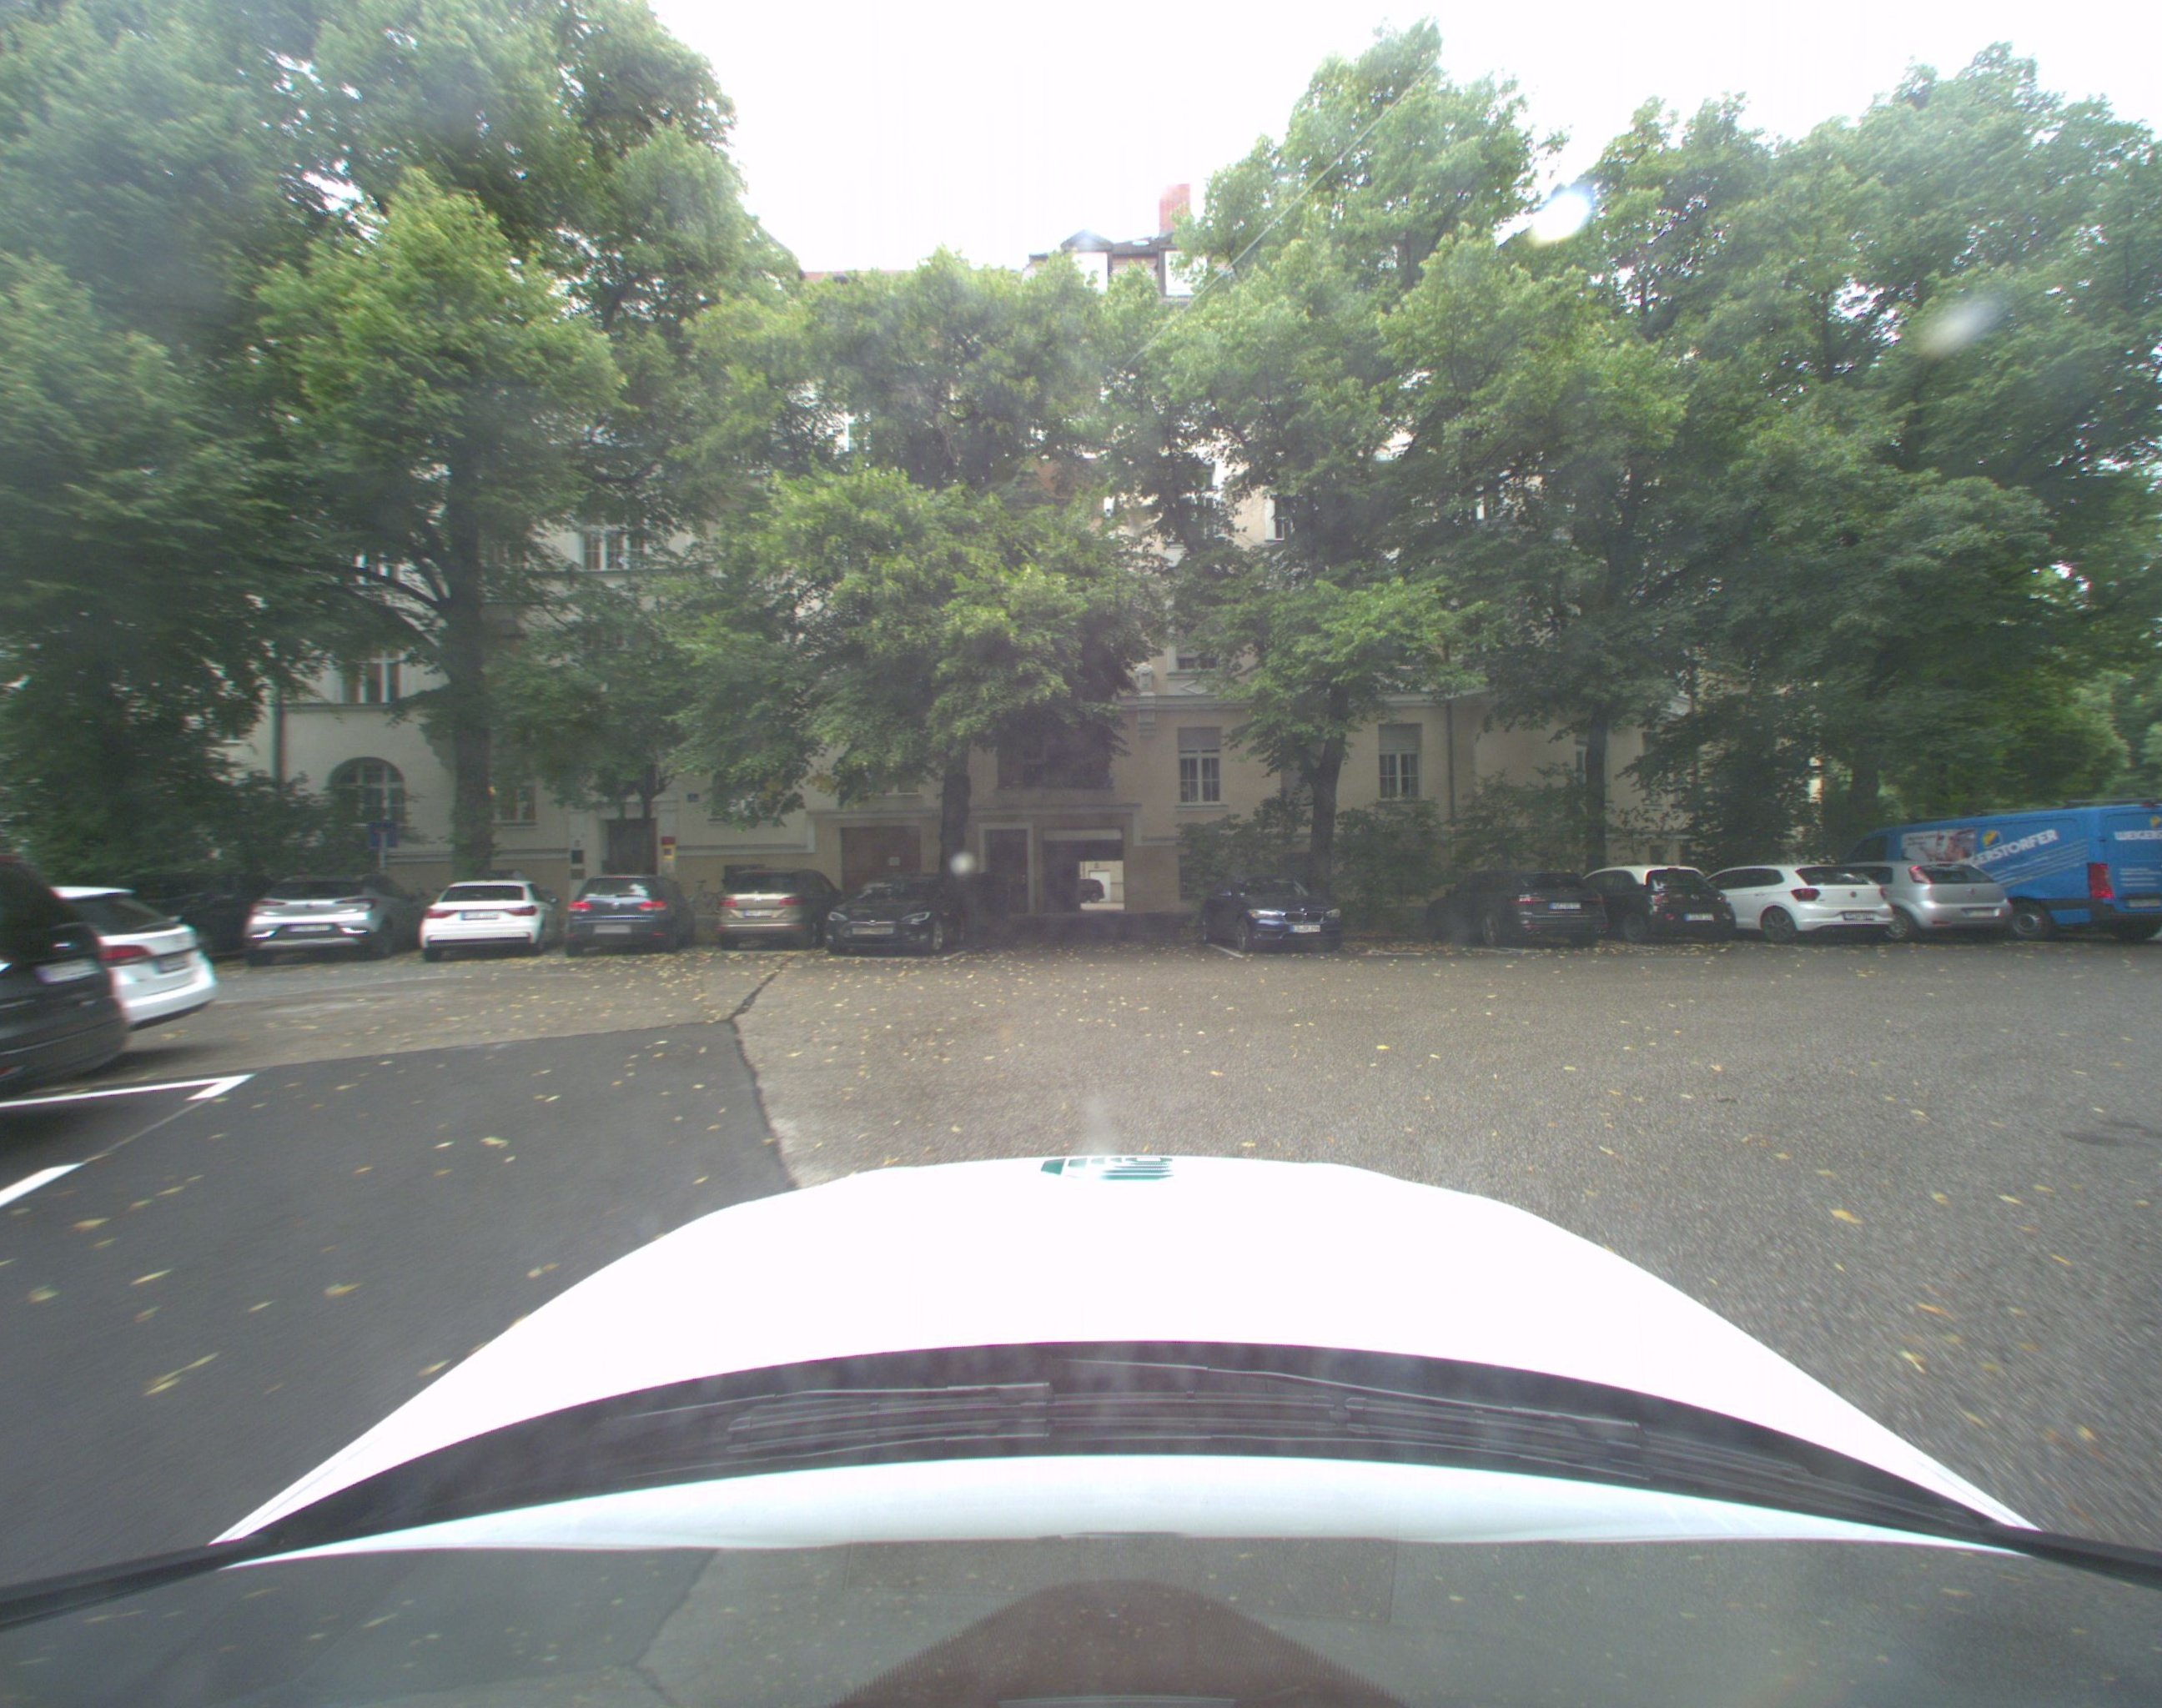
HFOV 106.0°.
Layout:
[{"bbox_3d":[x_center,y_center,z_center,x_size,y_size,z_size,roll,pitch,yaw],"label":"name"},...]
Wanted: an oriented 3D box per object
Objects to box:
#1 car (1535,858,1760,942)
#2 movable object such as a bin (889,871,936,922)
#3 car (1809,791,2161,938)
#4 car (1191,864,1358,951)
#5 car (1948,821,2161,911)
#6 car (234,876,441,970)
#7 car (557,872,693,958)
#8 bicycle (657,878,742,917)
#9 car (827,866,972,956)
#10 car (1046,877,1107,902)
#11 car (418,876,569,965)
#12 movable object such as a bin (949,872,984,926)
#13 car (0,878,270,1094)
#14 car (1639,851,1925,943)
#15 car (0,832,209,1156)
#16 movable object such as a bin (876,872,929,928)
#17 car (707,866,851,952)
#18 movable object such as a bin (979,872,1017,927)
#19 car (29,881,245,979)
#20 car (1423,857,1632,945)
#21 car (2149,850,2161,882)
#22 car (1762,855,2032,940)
[{"bbox_3d":[10.939,0.951,16.109,1.821,1.426,3.749,-1,-5,1],"label":"car"},{"bbox_3d":[-4.570,1.138,22.124,1.115,1.348,0.863,0,0,-3],"label":"movable object such as a bin"},{"bbox_3d":[17.648,0.307,15.829,2.051,2.355,5.495,-1,-3,1],"label":"car"},{"bbox_3d":[3.502,0.958,15.633,1.836,1.383,4.334,-1,-2,-5],"label":"car"},{"bbox_3d":[27.188,0.311,22.390,1.927,2.236,4.216,-1,-1,-10],"label":"car"},{"bbox_3d":[-13.997,1.195,15.639,1.879,1.510,3.965,0,-1,-26],"label":"car"},{"bbox_3d":[-8.771,1.079,15.988,1.798,1.431,3.970,0,-1,-22],"label":"car"},{"bbox_3d":[-11.364,1.281,24.295,2.222,1.115,0.576,0,-1,-1],"label":"bicycle"},{"bbox_3d":[-3.296,1.050,15.649,1.698,1.467,4.289,0,-3,1],"label":"car"},{"bbox_3d":[-0.291,2.314,53.089,3.840,1.518,1.653,0,-1,-6],"label":"car"},{"bbox_3d":[-11.180,1.174,15.780,1.727,1.431,3.965,0,-1,-26],"label":"car"},{"bbox_3d":[-2.969,1.144,21.179,0.711,1.348,1.372,-1,-1,-1],"label":"movable object such as a bin"},{"bbox_3d":[-9.133,1.057,6.043,4.013,1.479,1.817,-4,0,-31],"label":"car"},{"bbox_3d":[13.271,0.899,15.854,1.792,1.514,4.283,-1,-5,0],"label":"car"},{"bbox_3d":[-7.797,0.842,4.074,4.248,1.684,1.884,-3,1,-31],"label":"car"},{"bbox_3d":[-4.555,1.160,20.853,1.147,1.348,1.155,0,0,-3],"label":"movable object such as a bin"},{"bbox_3d":[-6.035,1.029,16.775,1.836,1.530,4.016,-1,-1,-6],"label":"car"},{"bbox_3d":[-2.092,1.136,20.755,0.860,1.305,1.430,1,-1,-3],"label":"movable object such as a bin"},{"bbox_3d":[-16.379,1.215,14.377,2.074,1.401,3.951,0,-1,-43],"label":"car"},{"bbox_3d":[8.305,0.902,15.646,1.850,1.426,4.165,-1,-3,3],"label":"car"},{"bbox_3d":[53.312,0.541,37.501,1.847,1.496,4.772,0,-1,-29],"label":"car"},{"bbox_3d":[15.335,0.812,15.611,1.632,1.433,3.554,-1,-2,1],"label":"car"}]
